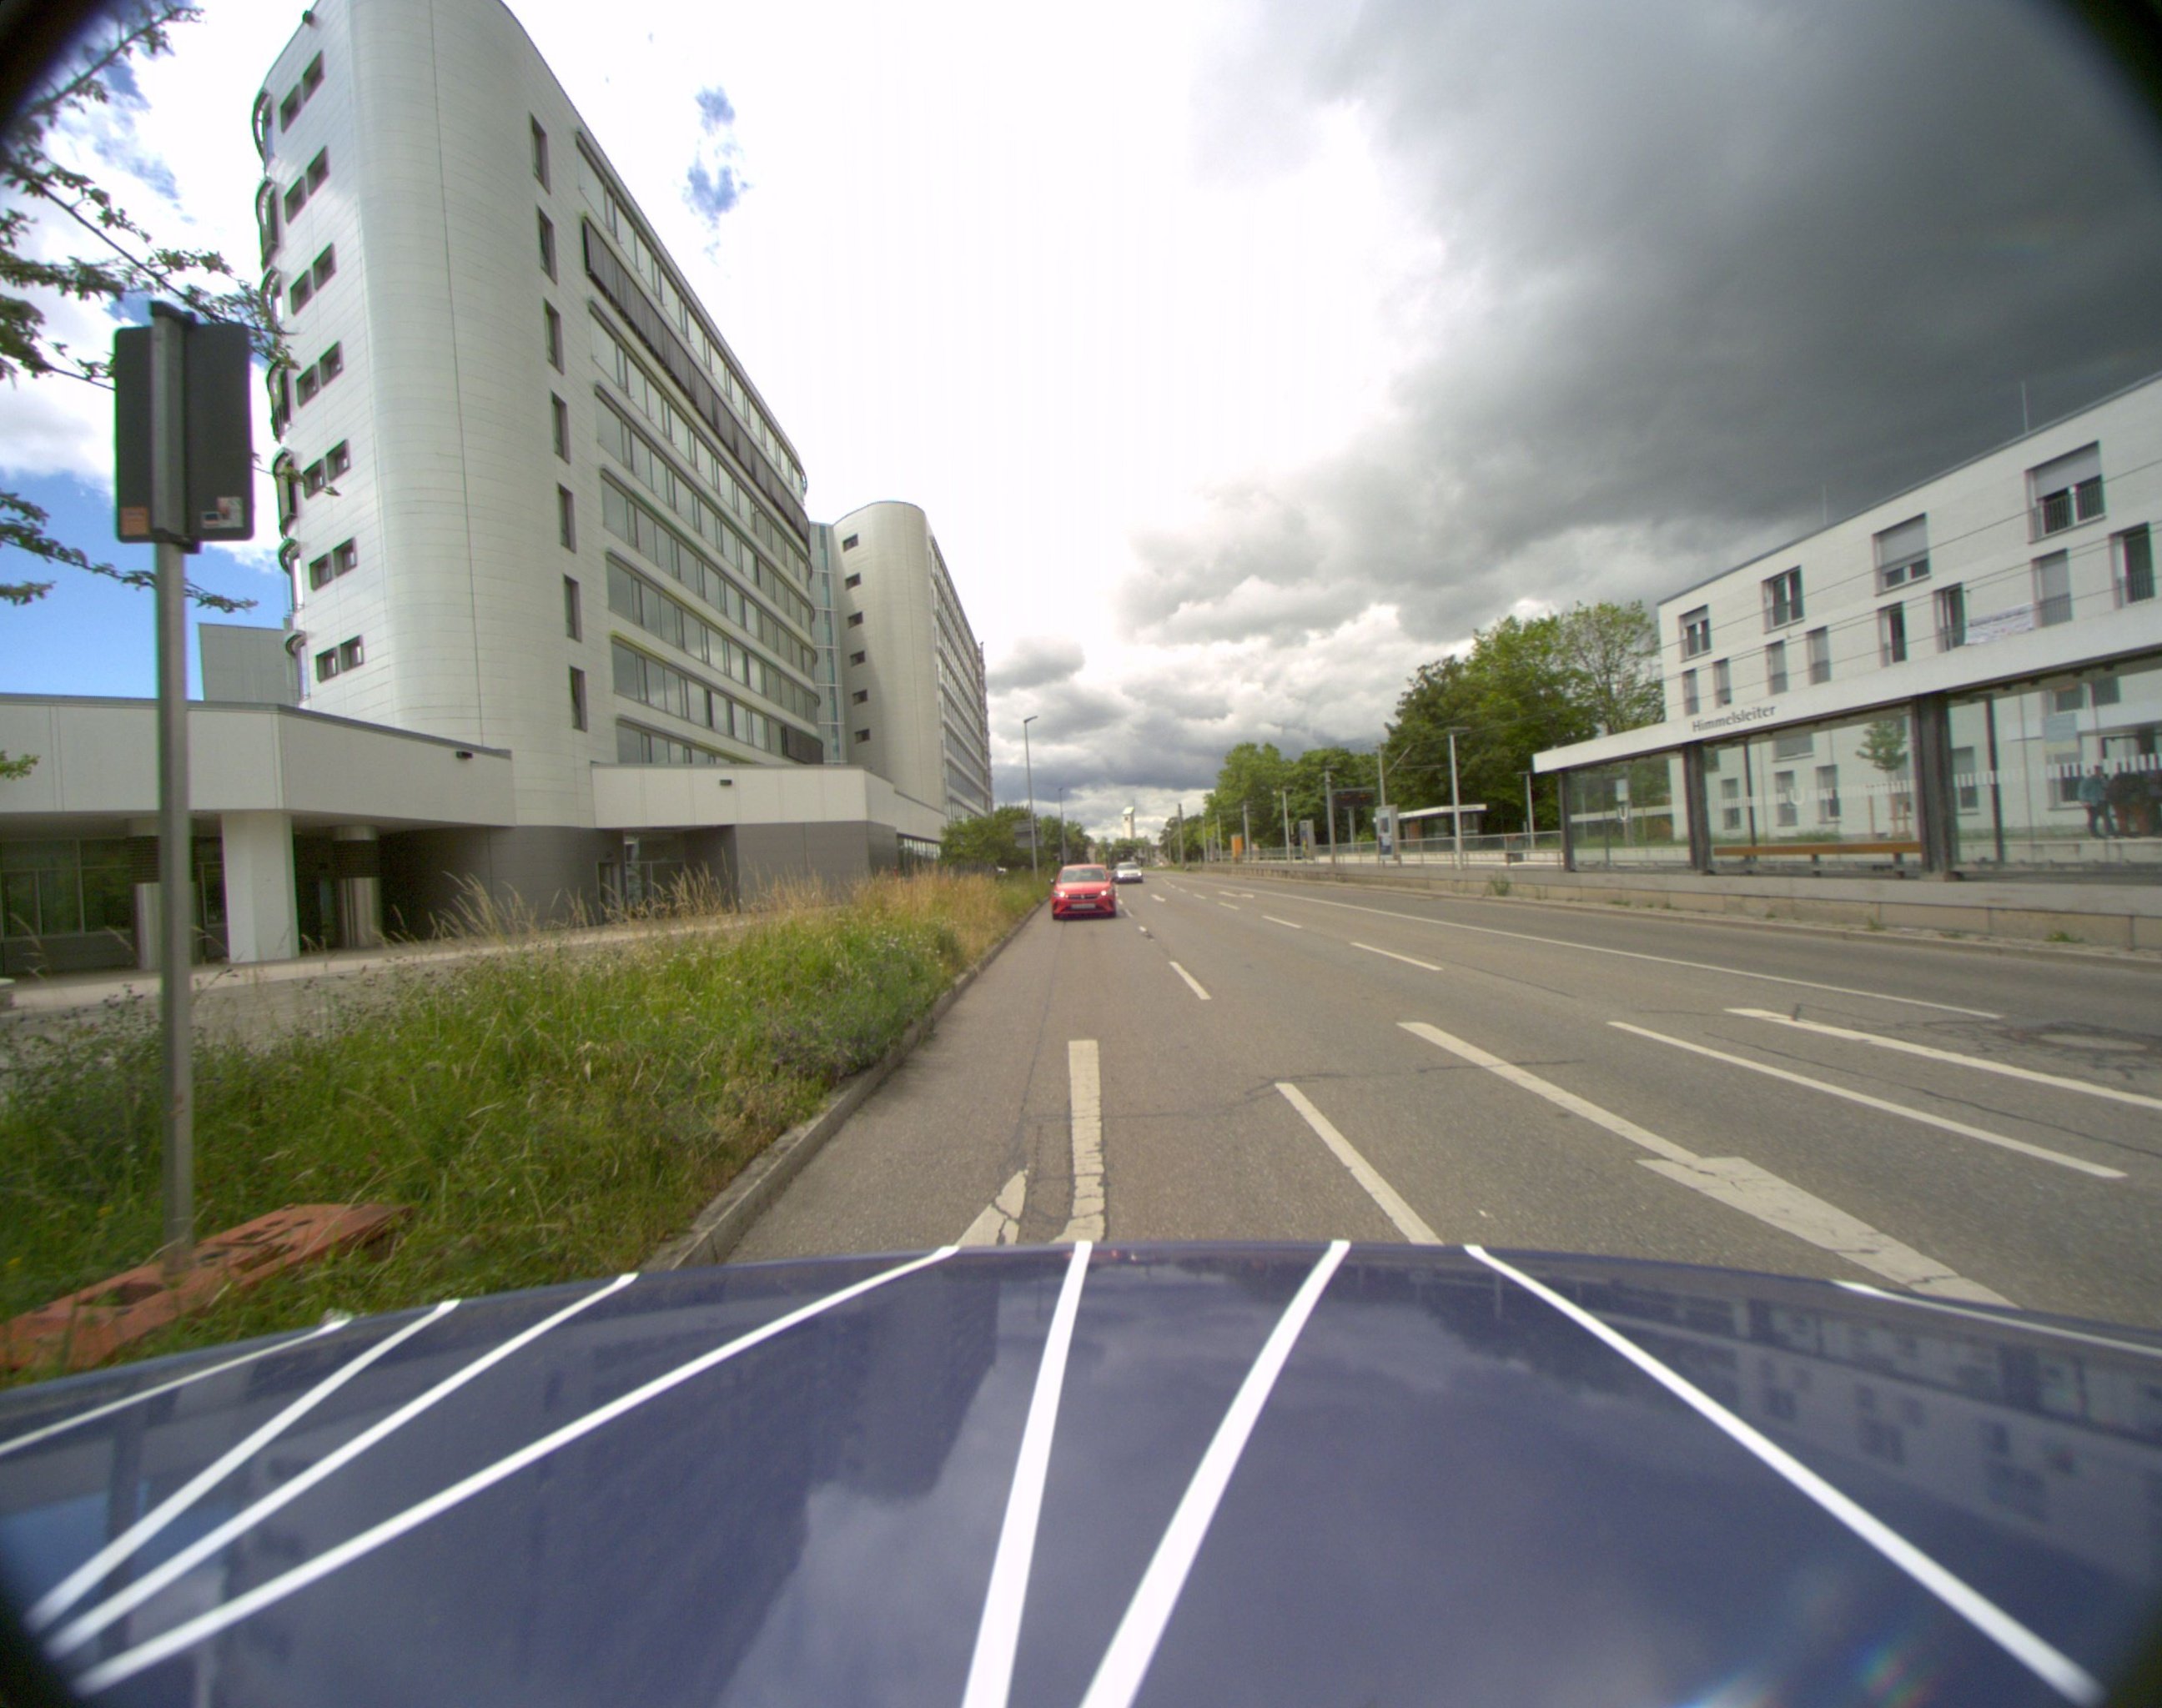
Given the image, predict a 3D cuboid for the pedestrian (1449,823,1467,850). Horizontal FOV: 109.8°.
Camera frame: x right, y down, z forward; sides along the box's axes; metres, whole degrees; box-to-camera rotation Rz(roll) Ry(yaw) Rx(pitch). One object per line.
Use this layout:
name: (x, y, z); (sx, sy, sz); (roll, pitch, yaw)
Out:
pedestrian: (22.142, -1.031, 44.670); (0.742, 1.522, 0.548); (-3, 1, 44)

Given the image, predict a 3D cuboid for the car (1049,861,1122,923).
car: (0.183, 1.004, 21.960); (1.790, 1.453, 4.853); (-4, 0, 1)

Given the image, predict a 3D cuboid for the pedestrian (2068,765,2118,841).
pedestrian: (21.928, -1.098, 16.474); (0.487, 1.587, 0.679); (-3, 1, 43)

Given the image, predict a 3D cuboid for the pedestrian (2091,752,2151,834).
pedestrian: (21.293, -1.232, 15.572); (0.487, 1.587, 0.679); (-3, 1, 35)

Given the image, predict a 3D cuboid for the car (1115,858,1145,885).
car: (3.210, 1.125, 50.524); (1.841, 1.586, 4.001); (-4, 0, 3)

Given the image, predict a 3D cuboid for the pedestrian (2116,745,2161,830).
pedestrian: (22.322, -1.386, 15.927); (0.489, 1.715, 0.676); (-4, 1, -34)
